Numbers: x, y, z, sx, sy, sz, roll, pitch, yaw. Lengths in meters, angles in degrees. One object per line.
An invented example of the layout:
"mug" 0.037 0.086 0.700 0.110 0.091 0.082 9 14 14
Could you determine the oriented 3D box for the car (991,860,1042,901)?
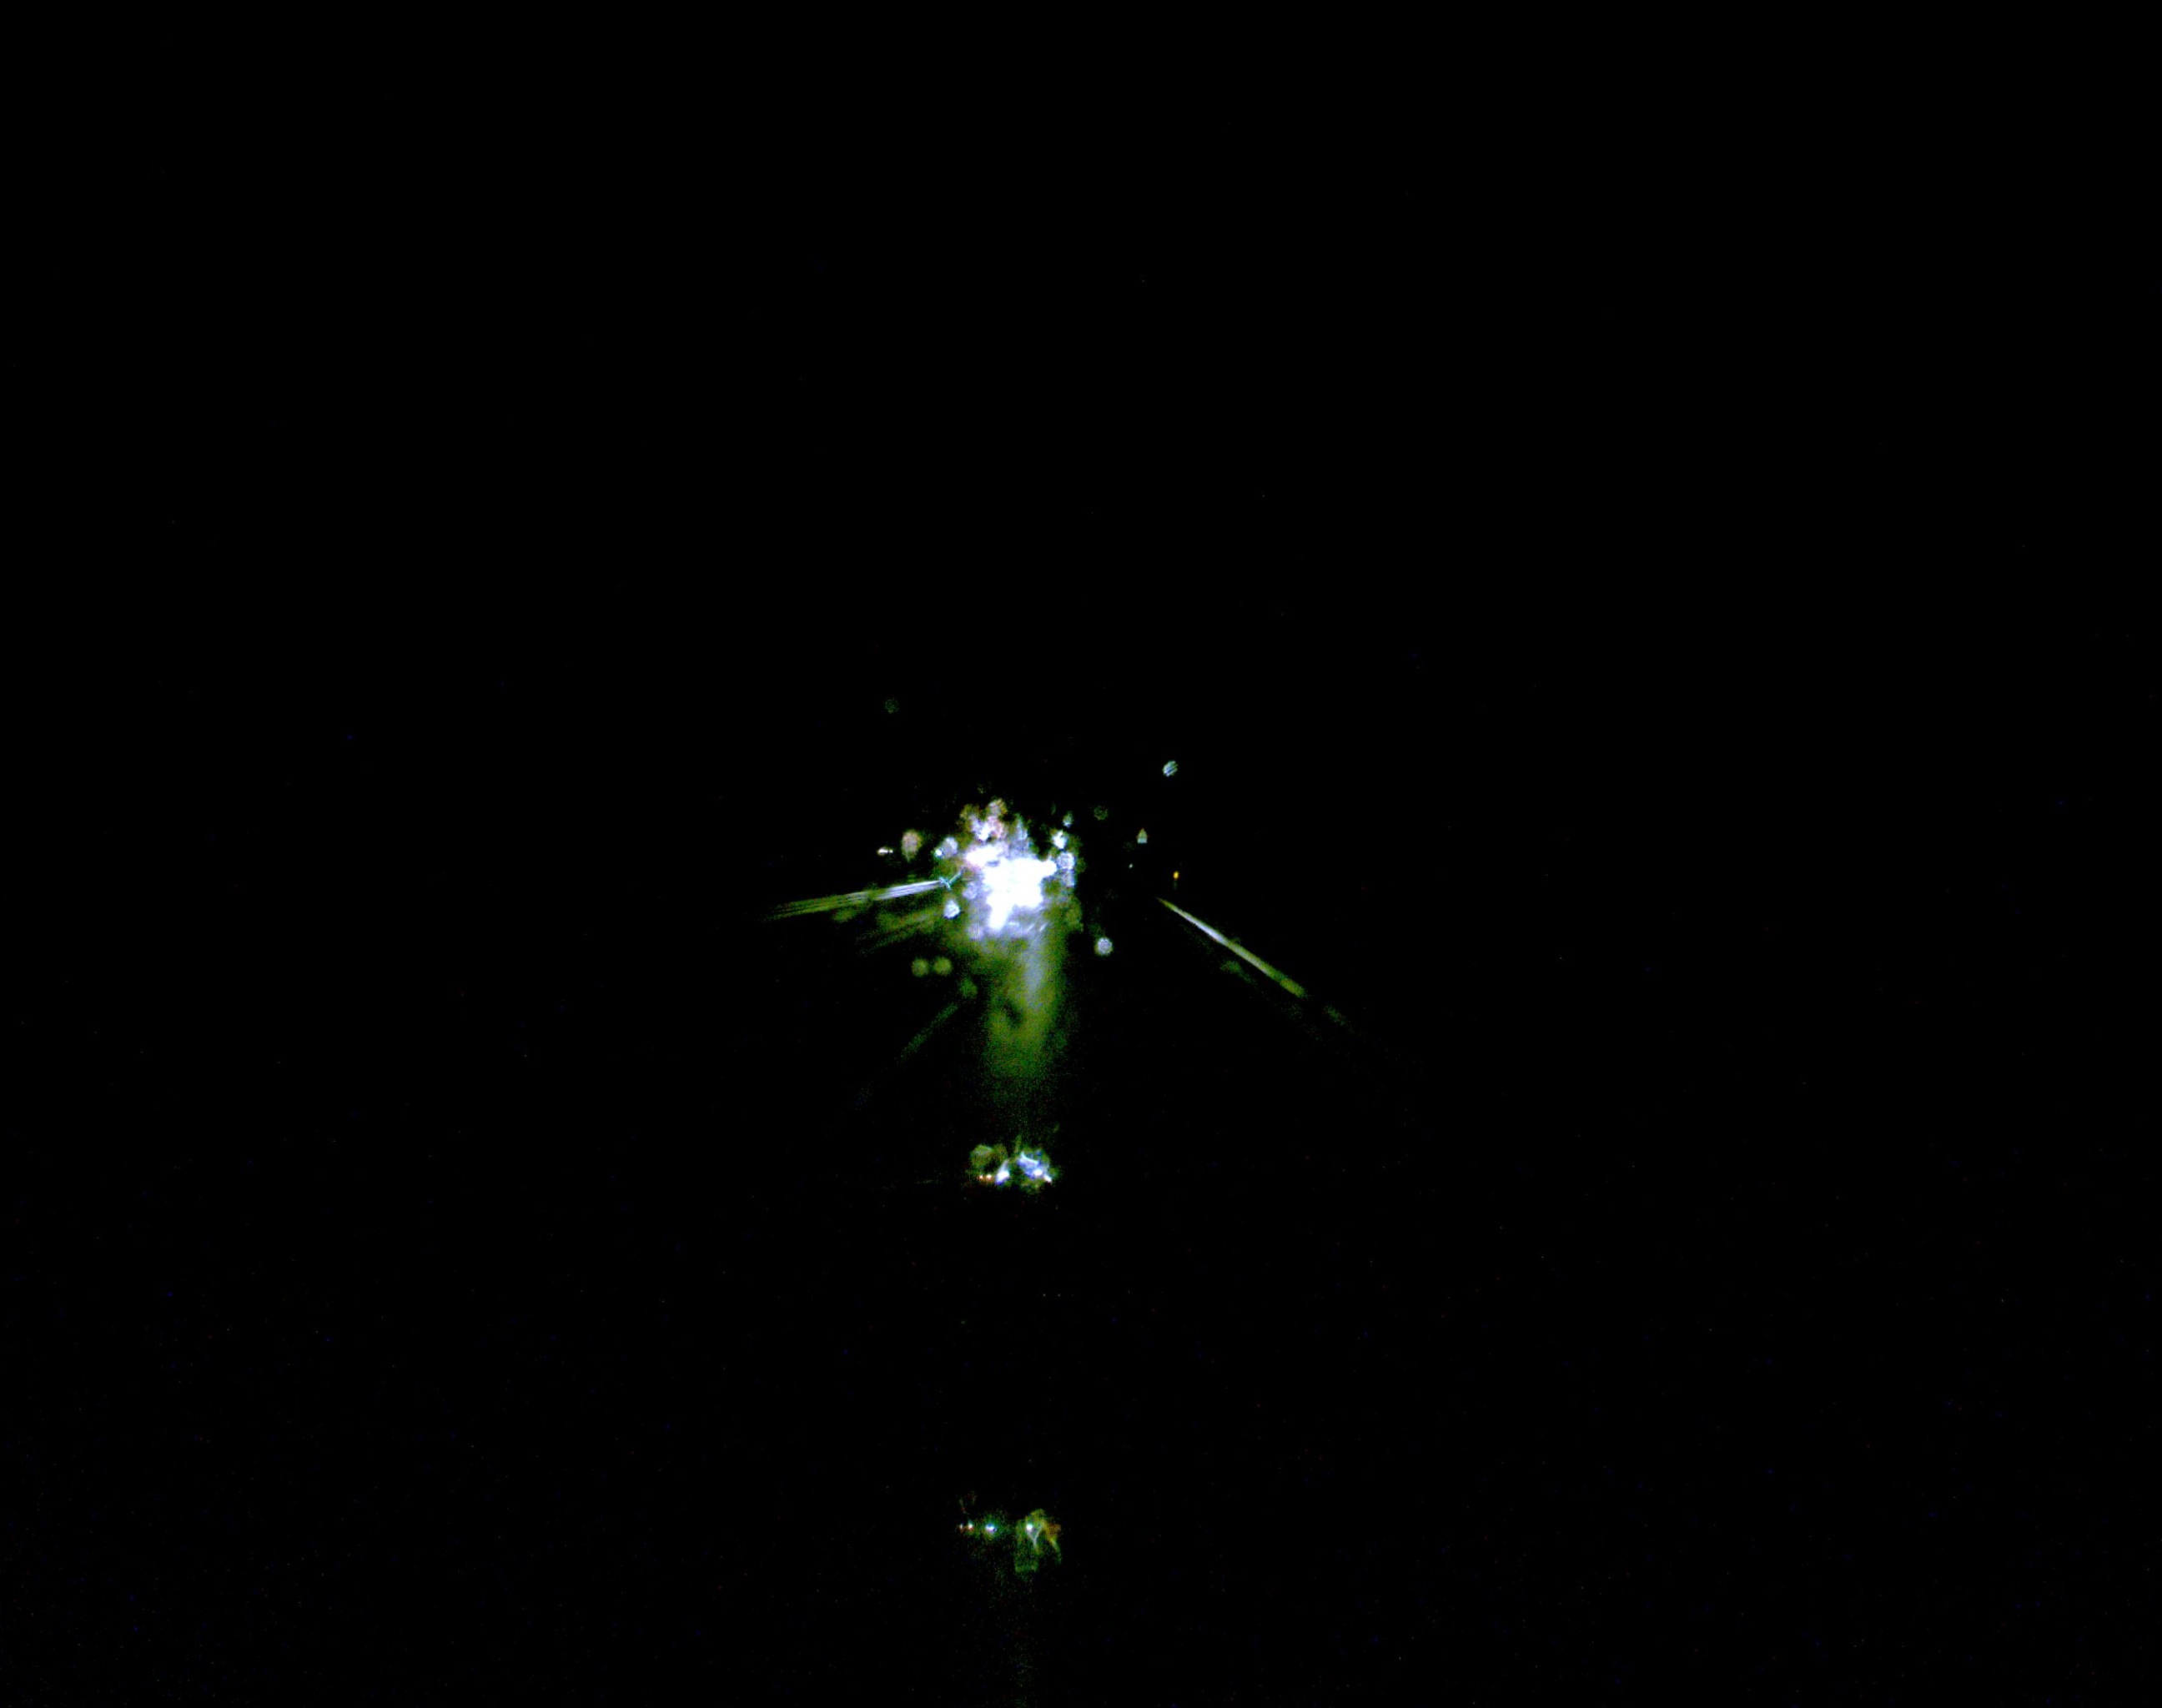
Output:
"car" -2.892 1.158 37.367 1.987 1.750 4.256 0 -1 -1
